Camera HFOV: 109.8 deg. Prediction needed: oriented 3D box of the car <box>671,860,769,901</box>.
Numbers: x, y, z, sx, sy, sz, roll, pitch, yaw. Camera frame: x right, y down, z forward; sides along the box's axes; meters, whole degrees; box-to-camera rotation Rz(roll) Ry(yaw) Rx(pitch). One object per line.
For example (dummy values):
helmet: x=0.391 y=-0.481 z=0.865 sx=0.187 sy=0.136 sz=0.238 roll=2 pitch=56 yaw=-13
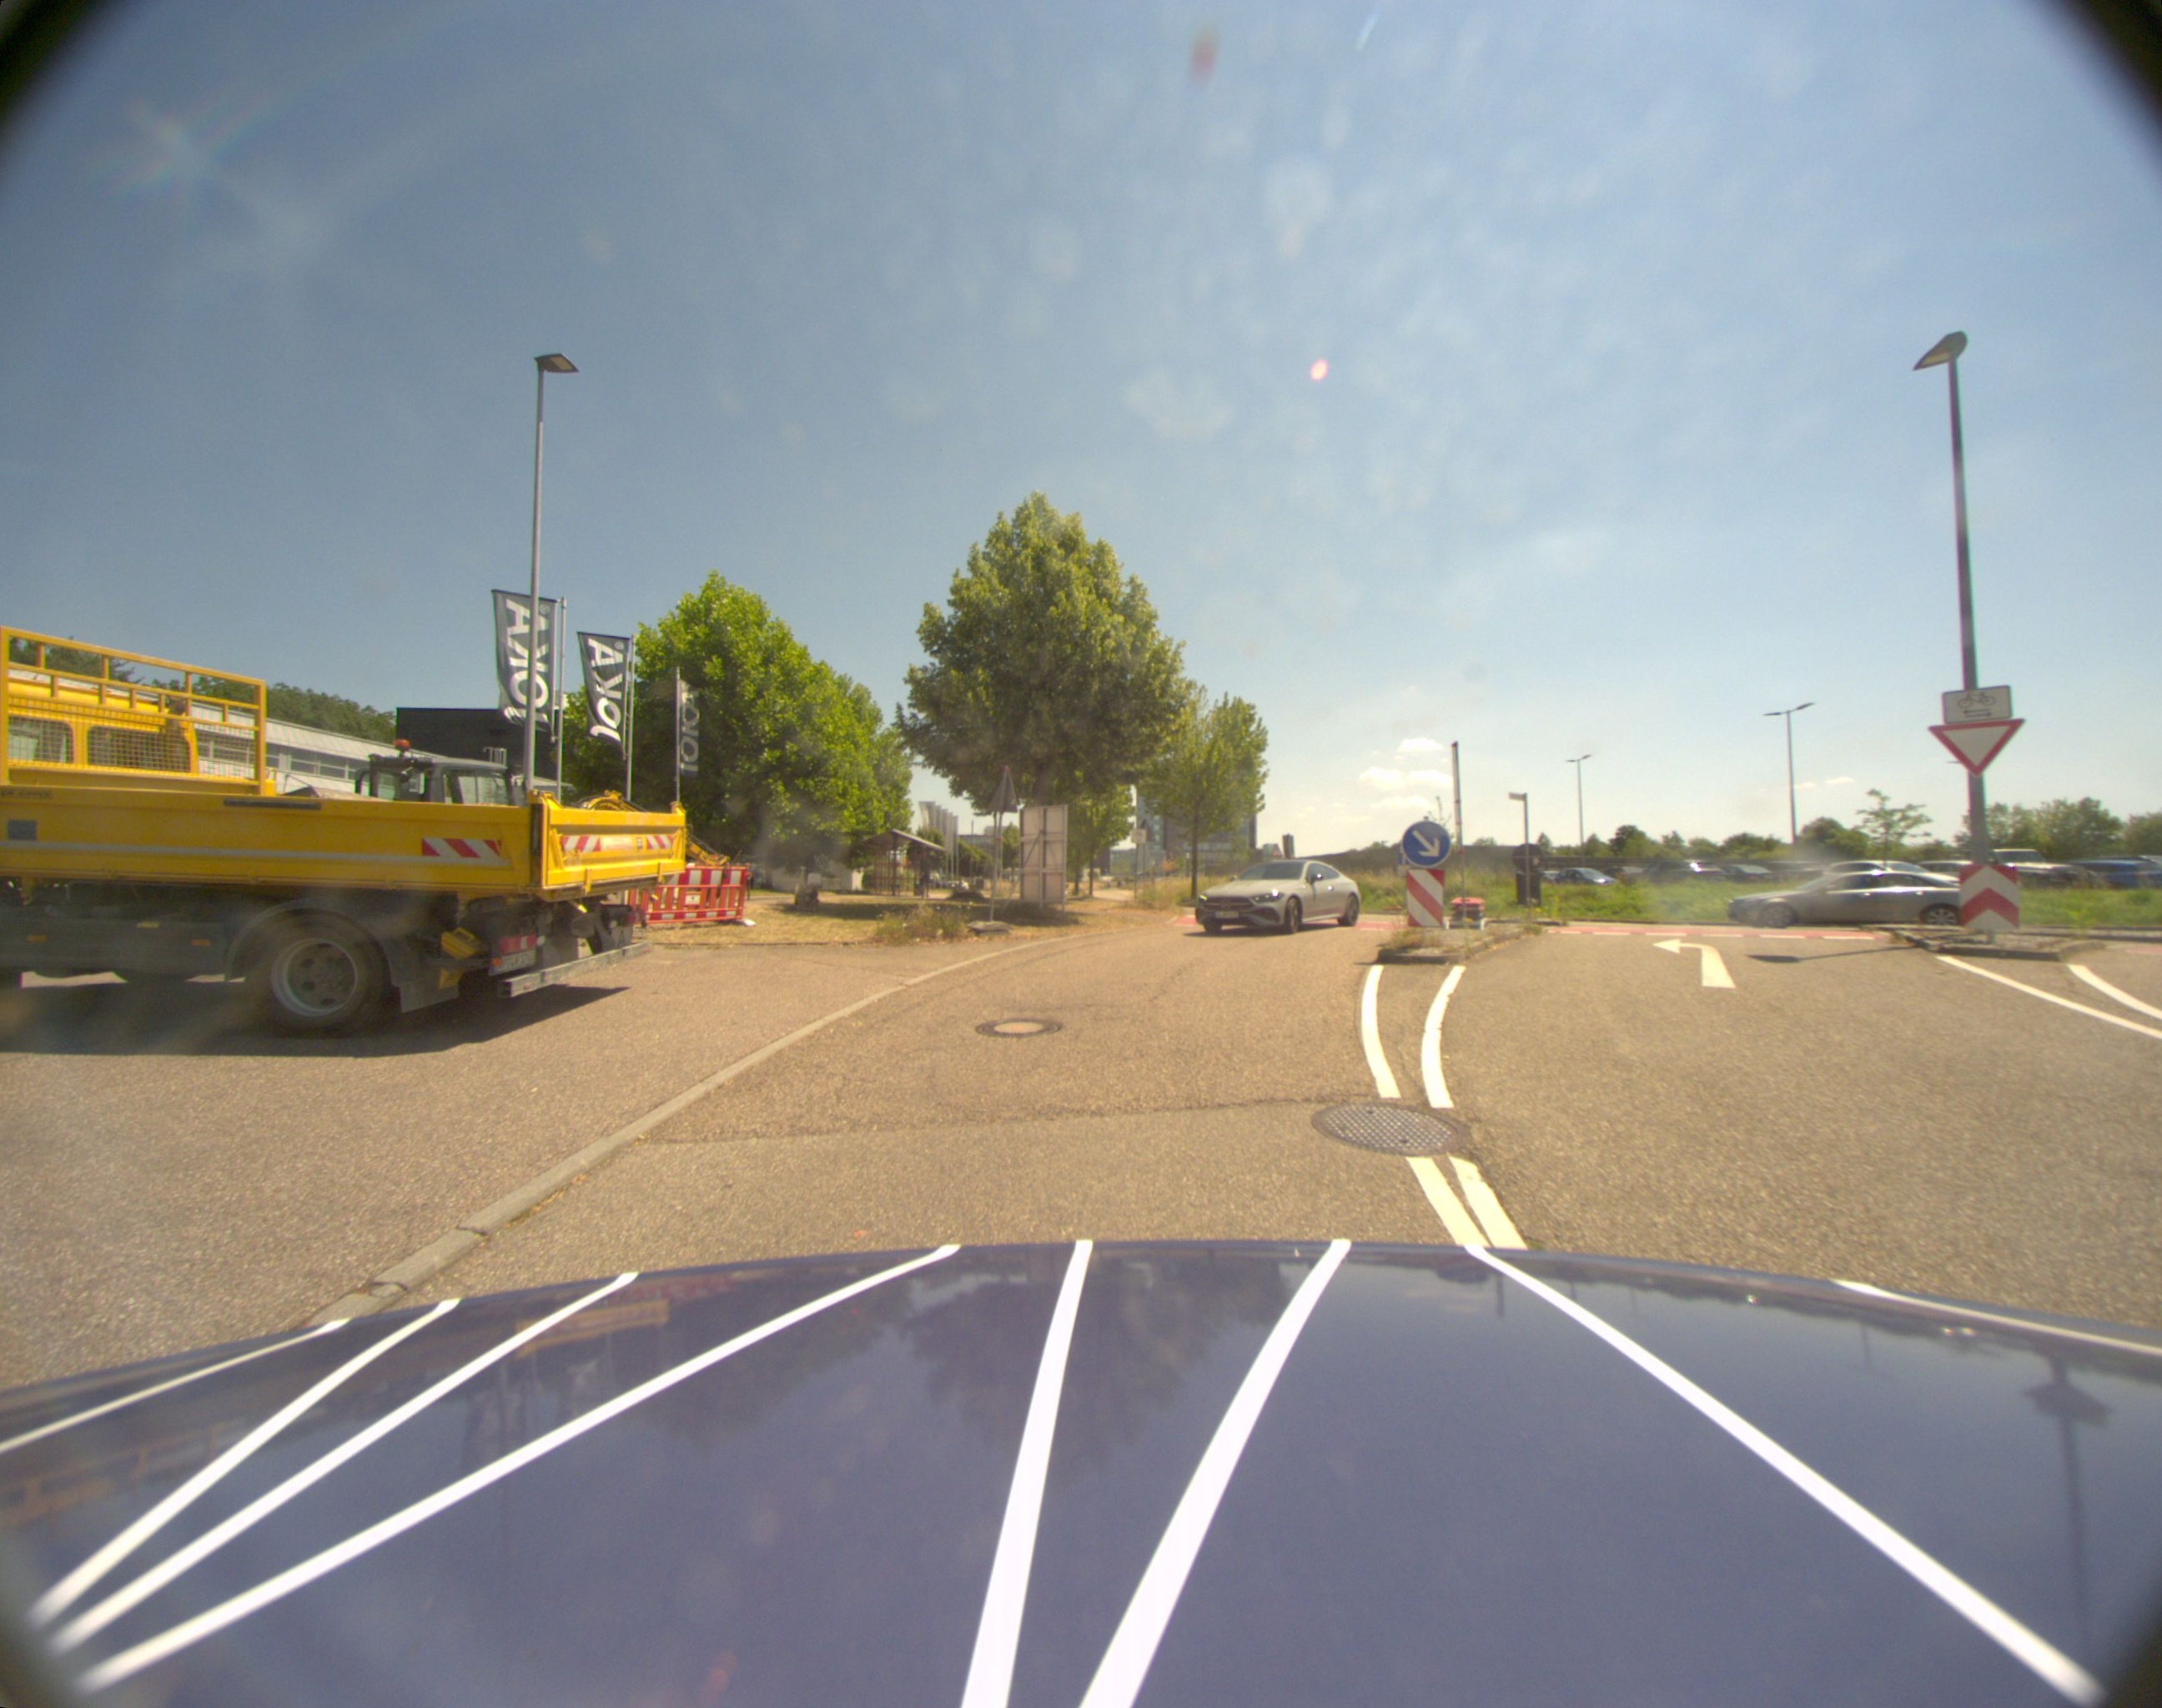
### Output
car: x=-18.500 y=1.377 z=39.120 sx=4.266 sy=2.000 sz=1.548 roll=0 pitch=-4 yaw=-12

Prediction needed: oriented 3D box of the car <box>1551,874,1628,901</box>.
car: x=29.240 y=1.910 z=43.819 sx=1.653 sy=1.437 sz=3.638 roll=1 pitch=-2 yaw=-8

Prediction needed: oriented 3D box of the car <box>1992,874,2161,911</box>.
car: x=36.927 y=1.402 z=28.097 sx=1.585 sy=1.249 sz=3.947 roll=-1 pitch=-3 yaw=-4

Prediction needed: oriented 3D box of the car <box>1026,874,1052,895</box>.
car: x=-3.305 y=2.423 z=60.270 sx=1.678 sy=1.495 sz=3.576 roll=-1 pitch=-4 yaw=3

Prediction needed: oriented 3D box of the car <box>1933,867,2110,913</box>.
car: x=34.276 y=1.309 z=27.875 sx=1.874 sy=1.518 sz=3.751 roll=-2 pitch=-3 yaw=4

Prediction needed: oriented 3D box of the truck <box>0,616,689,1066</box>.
truck: x=-7.312 y=-0.089 z=6.582 sx=6.422 sy=3.118 sz=2.594 roll=1 pitch=1 yaw=-5

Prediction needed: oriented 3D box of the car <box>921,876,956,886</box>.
car: x=-17.143 y=3.241 z=91.224 sx=3.890 sy=1.266 sz=1.705 roll=0 pitch=-1 yaw=-2

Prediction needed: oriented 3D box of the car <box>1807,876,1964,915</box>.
car: x=29.111 y=1.506 z=27.685 sx=1.573 sy=1.289 sz=3.879 roll=-1 pitch=-3 yaw=0

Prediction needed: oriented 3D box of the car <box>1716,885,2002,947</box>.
car: x=18.609 y=1.540 z=18.512 sx=4.486 sy=1.365 sz=1.678 roll=-3 pitch=-6 yaw=28

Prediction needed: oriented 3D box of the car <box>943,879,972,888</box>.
car: x=-17.639 y=4.224 z=108.662 sx=3.890 sy=1.266 sz=1.705 roll=1 pitch=-1 yaw=-2

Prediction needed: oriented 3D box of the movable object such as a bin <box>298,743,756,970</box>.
movable object such as a bin: x=-7.746 y=0.040 z=11.954 sx=1.998 sy=2.566 sz=6.580 roll=0 pitch=0 yaw=4

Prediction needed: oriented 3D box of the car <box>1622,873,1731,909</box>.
car: x=29.980 y=1.873 z=38.474 sx=1.776 sy=1.679 sz=4.606 roll=1 pitch=-3 yaw=-2

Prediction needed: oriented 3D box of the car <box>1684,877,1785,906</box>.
car: x=32.573 y=1.845 z=38.022 sx=1.652 sy=1.354 sz=3.849 roll=0 pitch=-1 yaw=-2

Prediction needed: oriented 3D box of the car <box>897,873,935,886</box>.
car: x=-17.719 y=2.706 z=81.624 sx=3.665 sy=1.317 sz=1.657 roll=0 pitch=-4 yaw=-2

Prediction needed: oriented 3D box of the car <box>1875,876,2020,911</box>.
car: x=31.681 y=1.453 z=27.917 sx=1.500 sy=1.174 sz=3.272 roll=-1 pitch=-3 yaw=-1

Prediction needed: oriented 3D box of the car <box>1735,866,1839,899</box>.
car: x=35.482 y=1.400 z=38.321 sx=1.768 sy=1.588 sz=3.639 roll=0 pitch=-1 yaw=-2

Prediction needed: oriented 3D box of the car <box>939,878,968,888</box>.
car: x=-17.781 y=4.056 z=106.008 sx=3.890 sy=1.266 sz=1.705 roll=0 pitch=-1 yaw=-2

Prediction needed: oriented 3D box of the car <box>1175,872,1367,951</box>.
car: x=4.047 y=1.132 z=15.640 sx=1.893 sy=1.374 sz=4.645 roll=-2 pitch=-4 yaw=42

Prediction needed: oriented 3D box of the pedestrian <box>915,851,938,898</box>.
pedestrian: x=-5.544 y=0.758 z=27.265 sx=0.578 sy=1.659 sz=0.532 roll=-3 pitch=-4 yaw=27
